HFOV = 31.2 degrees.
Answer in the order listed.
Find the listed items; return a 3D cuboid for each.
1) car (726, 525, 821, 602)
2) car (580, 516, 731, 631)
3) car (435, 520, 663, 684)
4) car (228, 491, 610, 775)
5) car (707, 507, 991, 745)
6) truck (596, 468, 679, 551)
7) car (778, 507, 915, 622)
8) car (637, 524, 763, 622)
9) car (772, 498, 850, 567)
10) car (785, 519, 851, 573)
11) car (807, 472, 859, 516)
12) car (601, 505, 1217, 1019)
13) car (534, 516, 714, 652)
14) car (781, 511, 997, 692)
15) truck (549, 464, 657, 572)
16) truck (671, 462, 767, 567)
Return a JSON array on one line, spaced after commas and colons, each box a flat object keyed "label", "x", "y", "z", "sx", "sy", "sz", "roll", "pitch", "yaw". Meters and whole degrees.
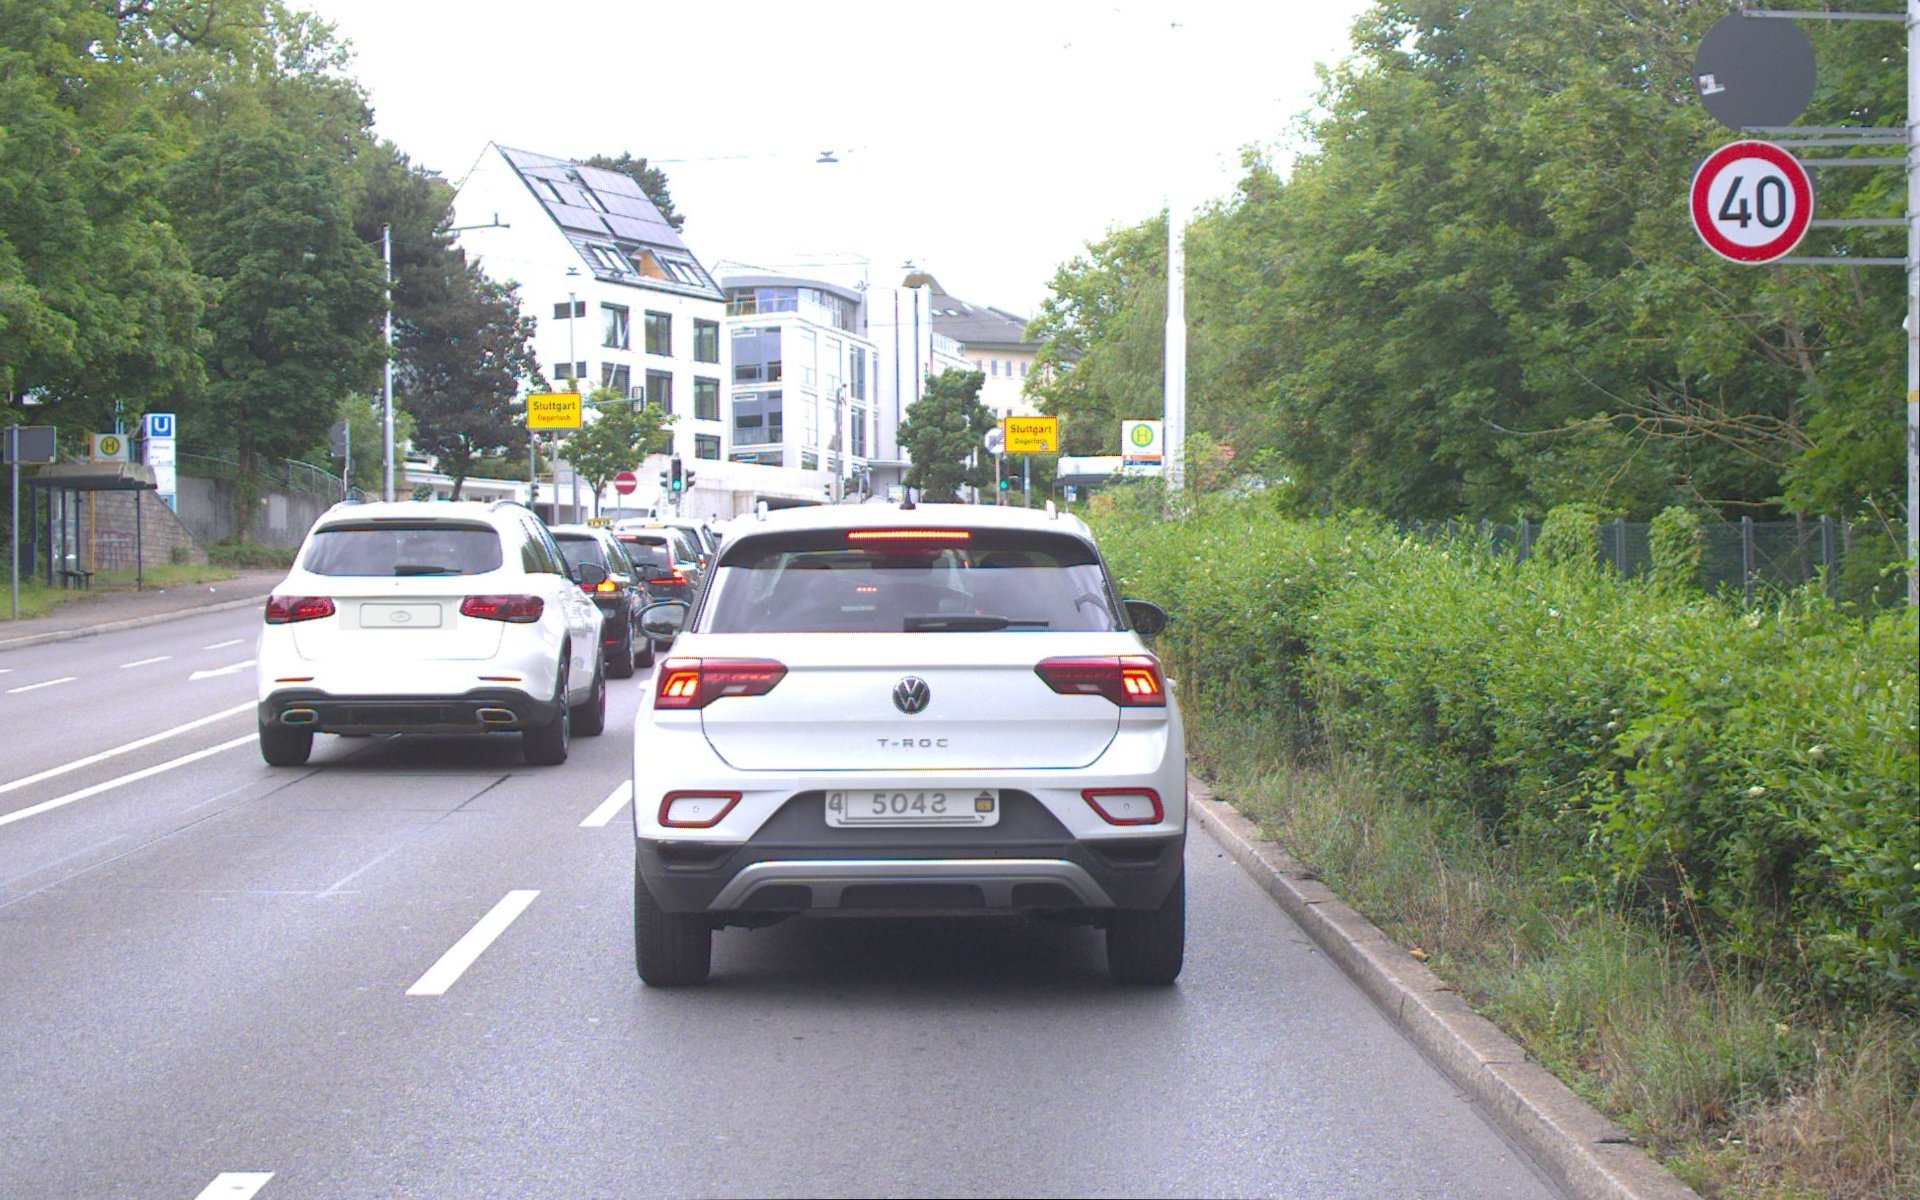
[{"label": "car", "x": -3.855, "y": -0.790, "z": 71.585, "sx": 1.829, "sy": 1.520, "sz": 4.000, "roll": -1, "pitch": 1, "yaw": -1}, {"label": "car", "x": -4.263, "y": -0.408, "z": 48.601, "sx": 1.829, "sy": 1.520, "sz": 4.000, "roll": -1, "pitch": 1, "yaw": -1}, {"label": "car", "x": -3.993, "y": -0.026, "z": 33.957, "sx": 1.829, "sy": 1.492, "sz": 4.000, "roll": -1, "pitch": 1, "yaw": -1}, {"label": "car", "x": -3.381, "y": 0.150, "z": 22.208, "sx": 1.918, "sy": 1.664, "sz": 4.000, "roll": 0, "pitch": 1, "yaw": -1}, {"label": "car", "x": -0.768, "y": 0.124, "z": 24.490, "sx": 1.829, "sy": 1.520, "sz": 4.000, "roll": -1, "pitch": 1, "yaw": -1}, {"label": "truck", "x": -12.428, "y": -3.469, "z": 132.806, "sx": 2.293, "sy": 3.040, "sz": 6.979, "roll": -2, "pitch": 1, "yaw": 1}, {"label": "car", "x": -1.578, "y": -0.524, "z": 48.534, "sx": 1.829, "sy": 1.520, "sz": 4.000, "roll": -1, "pitch": 1, "yaw": -1}, {"label": "car", "x": -4.225, "y": -0.473, "z": 56.346, "sx": 1.829, "sy": 1.520, "sz": 4.000, "roll": -1, "pitch": 1, "yaw": -1}, {"label": "car", "x": -3.733, "y": -1.716, "z": 86.761, "sx": 1.815, "sy": 1.651, "sz": 3.929, "roll": -2, "pitch": 1, "yaw": -1}, {"label": "car", "x": -4.182, "y": -1.617, "z": 101.454, "sx": 1.829, "sy": 1.520, "sz": 4.000, "roll": -1, "pitch": 1, "yaw": -1}, {"label": "car", "x": -4.643, "y": -3.883, "z": 126.462, "sx": 1.829, "sy": 1.520, "sz": 4.000, "roll": -1, "pitch": 1, "yaw": -1}, {"label": "car", "x": -0.194, "y": 0.439, "z": 12.285, "sx": 1.829, "sy": 1.520, "sz": 4.000, "roll": -1, "pitch": 1, "yaw": -1}, {"label": "car", "x": -3.994, "y": -0.232, "z": 41.441, "sx": 1.829, "sy": 1.520, "sz": 4.000, "roll": -1, "pitch": 1, "yaw": -1}, {"label": "car", "x": -0.657, "y": -0.032, "z": 31.599, "sx": 1.829, "sy": 1.520, "sz": 4.000, "roll": -1, "pitch": 1, "yaw": -1}, {"label": "truck", "x": -9.361, "y": -2.159, "z": 90.476, "sx": 2.362, "sy": 2.697, "sz": 4.478, "roll": -2, "pitch": 1, "yaw": -1}, {"label": "truck", "x": -6.641, "y": -2.368, "z": 95.265, "sx": 2.362, "sy": 2.772, "sz": 4.478, "roll": -2, "pitch": 1, "yaw": -1}]
